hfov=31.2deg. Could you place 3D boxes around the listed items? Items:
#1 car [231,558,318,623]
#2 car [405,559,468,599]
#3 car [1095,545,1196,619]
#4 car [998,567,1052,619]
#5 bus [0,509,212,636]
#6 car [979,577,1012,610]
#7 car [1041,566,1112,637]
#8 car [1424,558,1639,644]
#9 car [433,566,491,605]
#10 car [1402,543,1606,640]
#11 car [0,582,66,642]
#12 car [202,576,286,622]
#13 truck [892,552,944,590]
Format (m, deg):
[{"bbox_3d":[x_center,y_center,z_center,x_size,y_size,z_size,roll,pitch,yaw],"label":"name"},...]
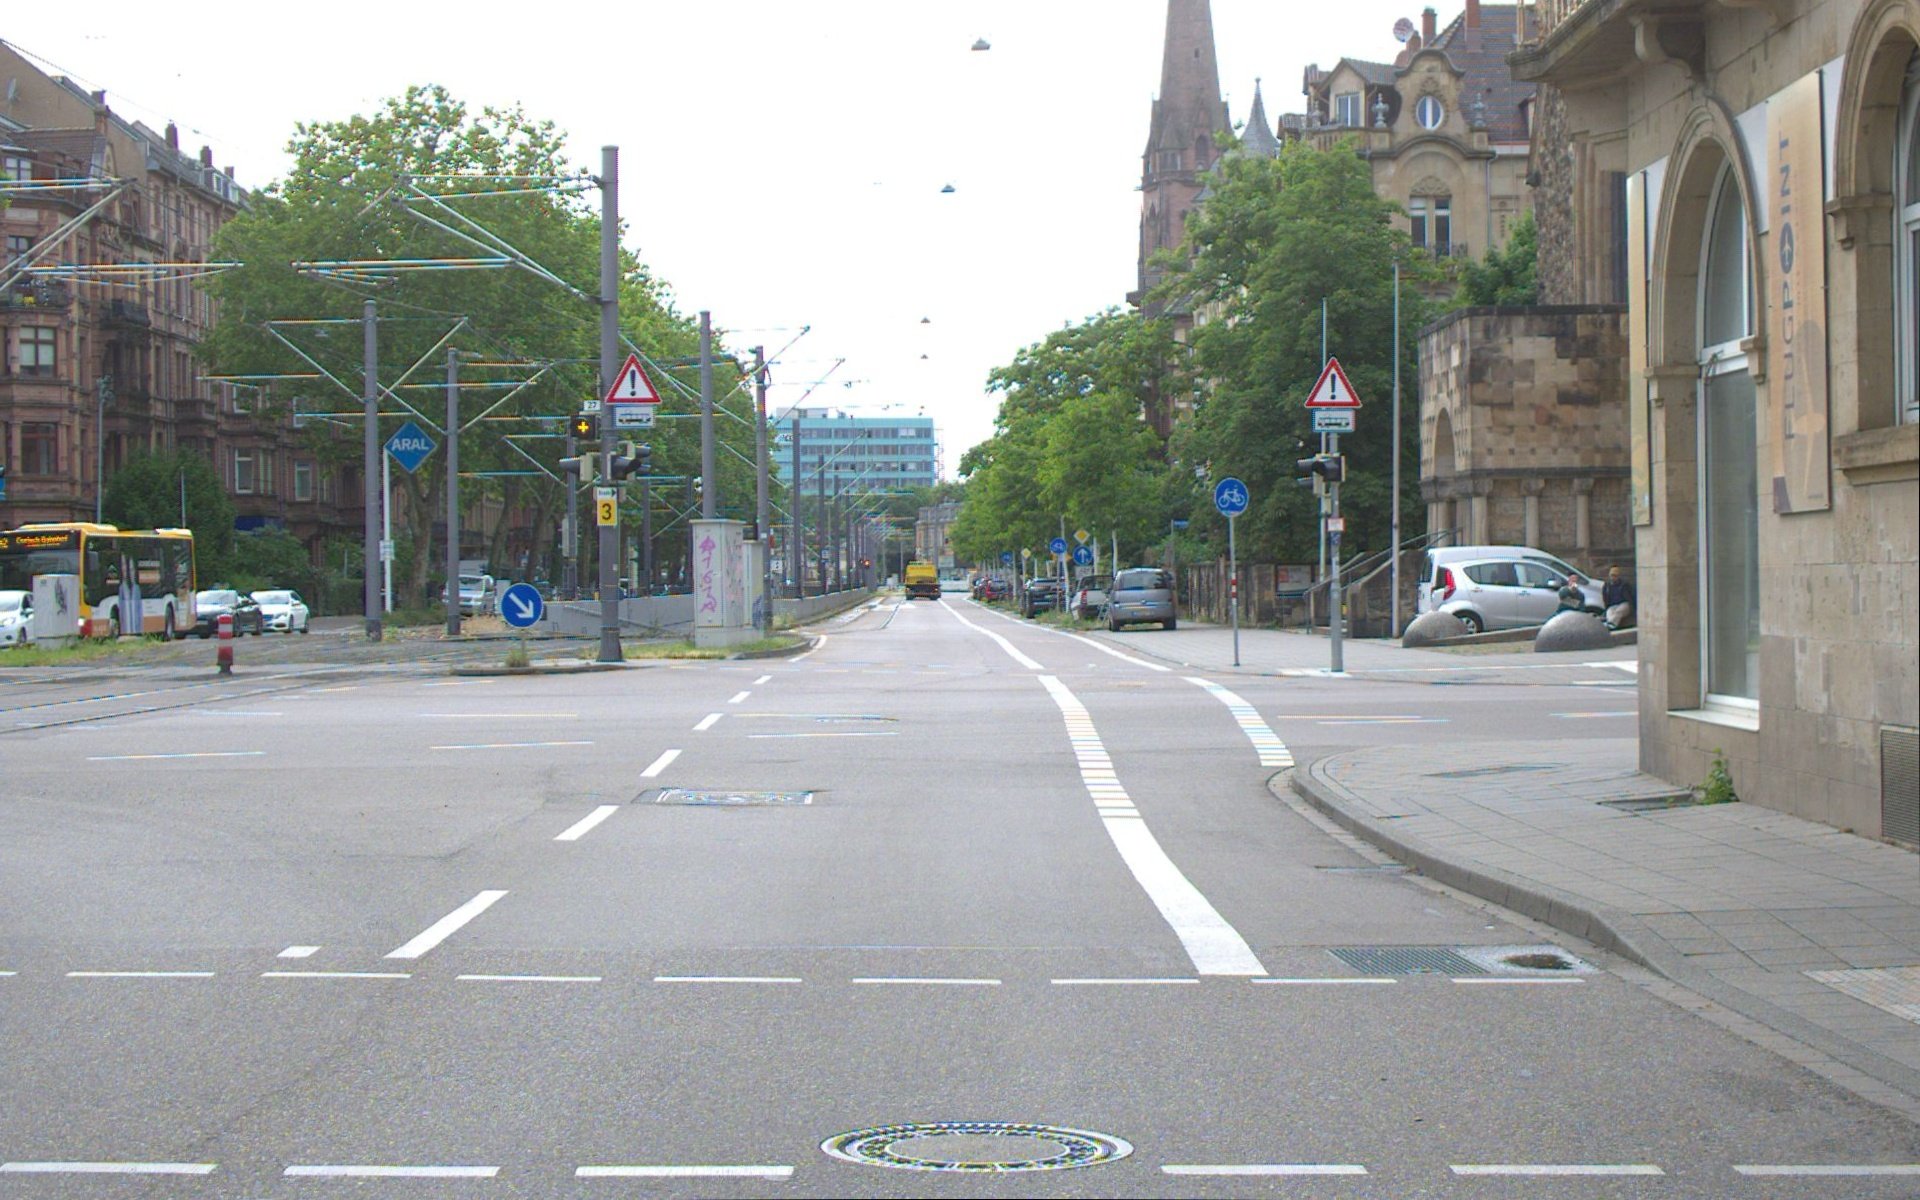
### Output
[{"bbox_3d":[-21.829,-0.318,109.602,1.993,2.007,4.000,1,1,-1],"label":"car"},{"bbox_3d":[-21.525,-0.879,141.520,1.993,1.605,4.000,1,1,-1],"label":"car"},{"bbox_3d":[4.875,-0.481,89.981,1.994,1.849,4.024,1,1,12],"label":"car"},{"bbox_3d":[2.549,-0.289,136.121,1.993,2.007,4.000,1,1,-1],"label":"car"},{"bbox_3d":[-22.471,-0.726,89.094,3.231,3.025,12.311,1,1,1],"label":"bus"},{"bbox_3d":[2.215,-0.422,216.834,1.993,2.007,4.000,1,1,-1],"label":"car"},{"bbox_3d":[3.353,0.023,99.652,1.993,2.007,4.000,1,1,1],"label":"car"},{"bbox_3d":[10.769,0.007,64.956,3.713,1.558,2.000,1,0,0],"label":"car"},{"bbox_3d":[-21.615,-0.640,149.337,1.993,1.605,4.000,1,1,-1],"label":"car"},{"bbox_3d":[10.798,-0.171,68.401,3.713,1.849,2.000,1,0,0],"label":"car"},{"bbox_3d":[-21.904,0.264,79.045,1.656,1.316,3.638,1,1,1],"label":"car"},{"bbox_3d":[-21.286,-0.047,102.261,1.656,1.316,3.638,1,1,1],"label":"car"},{"bbox_3d":[-3.079,-2.150,254.635,3.055,2.759,9.814,0,1,4],"label":"truck"}]
